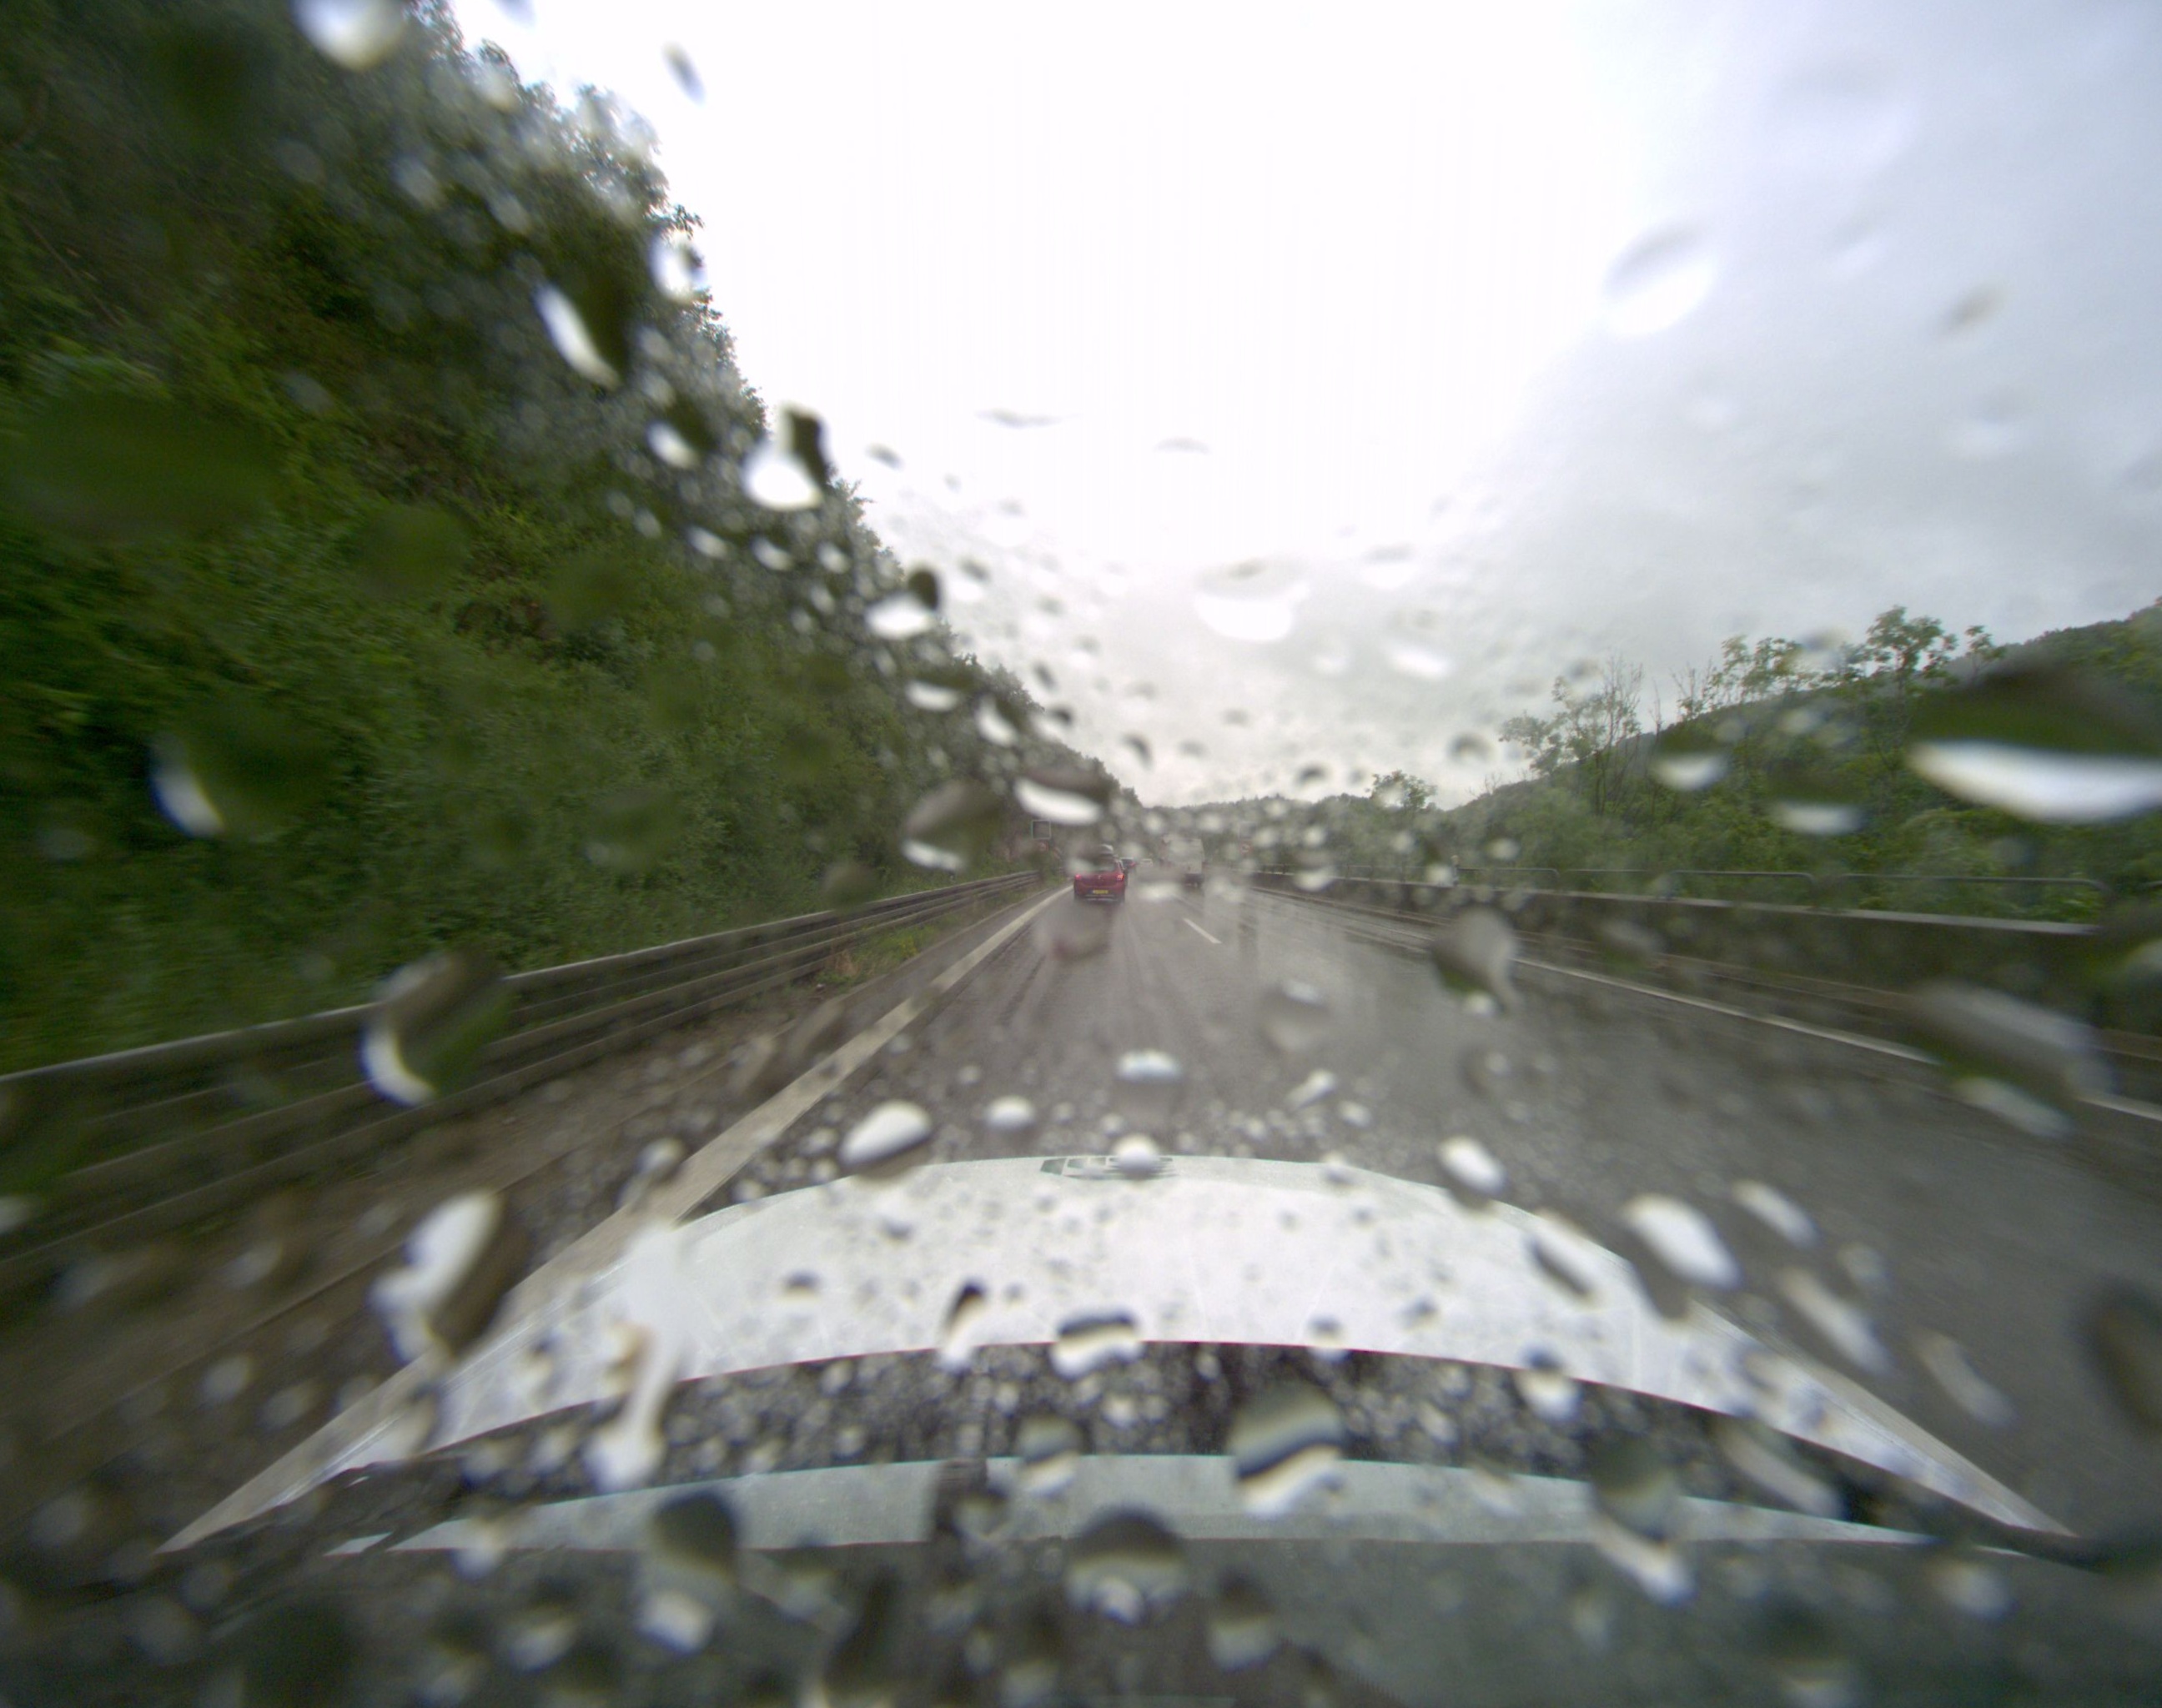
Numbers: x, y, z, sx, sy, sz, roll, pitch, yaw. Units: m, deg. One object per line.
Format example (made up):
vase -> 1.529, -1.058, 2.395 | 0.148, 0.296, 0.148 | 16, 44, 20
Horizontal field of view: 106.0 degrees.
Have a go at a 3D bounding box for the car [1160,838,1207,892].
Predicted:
car -> 5.621, 0.595, 45.594 | 2.196, 2.794, 7.389 | 0, 0, 4

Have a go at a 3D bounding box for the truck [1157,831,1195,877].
truck -> 8.604, 0.027, 73.972 | 3.204, 3.978, 5.447 | -1, -1, 6

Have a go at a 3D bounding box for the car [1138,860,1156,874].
car -> 8.568, 1.685, 105.886 | 1.982, 1.639, 4.009 | -3, -1, 8

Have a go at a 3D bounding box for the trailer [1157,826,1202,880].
trailer -> 7.941, -0.007, 67.117 | 3.203, 3.999, 13.543 | -1, -1, 5

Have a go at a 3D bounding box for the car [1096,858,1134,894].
car -> 1.811, 1.140, 42.884 | 1.825, 1.715, 3.647 | -3, -1, 3

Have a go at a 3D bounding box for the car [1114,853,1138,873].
car -> 4.111, 0.810, 74.415 | 1.865, 1.706, 3.895 | -3, -1, 6

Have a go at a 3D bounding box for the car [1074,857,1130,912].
car -> 0.752, 1.032, 28.354 | 1.751, 1.684, 4.002 | -3, -1, 2
